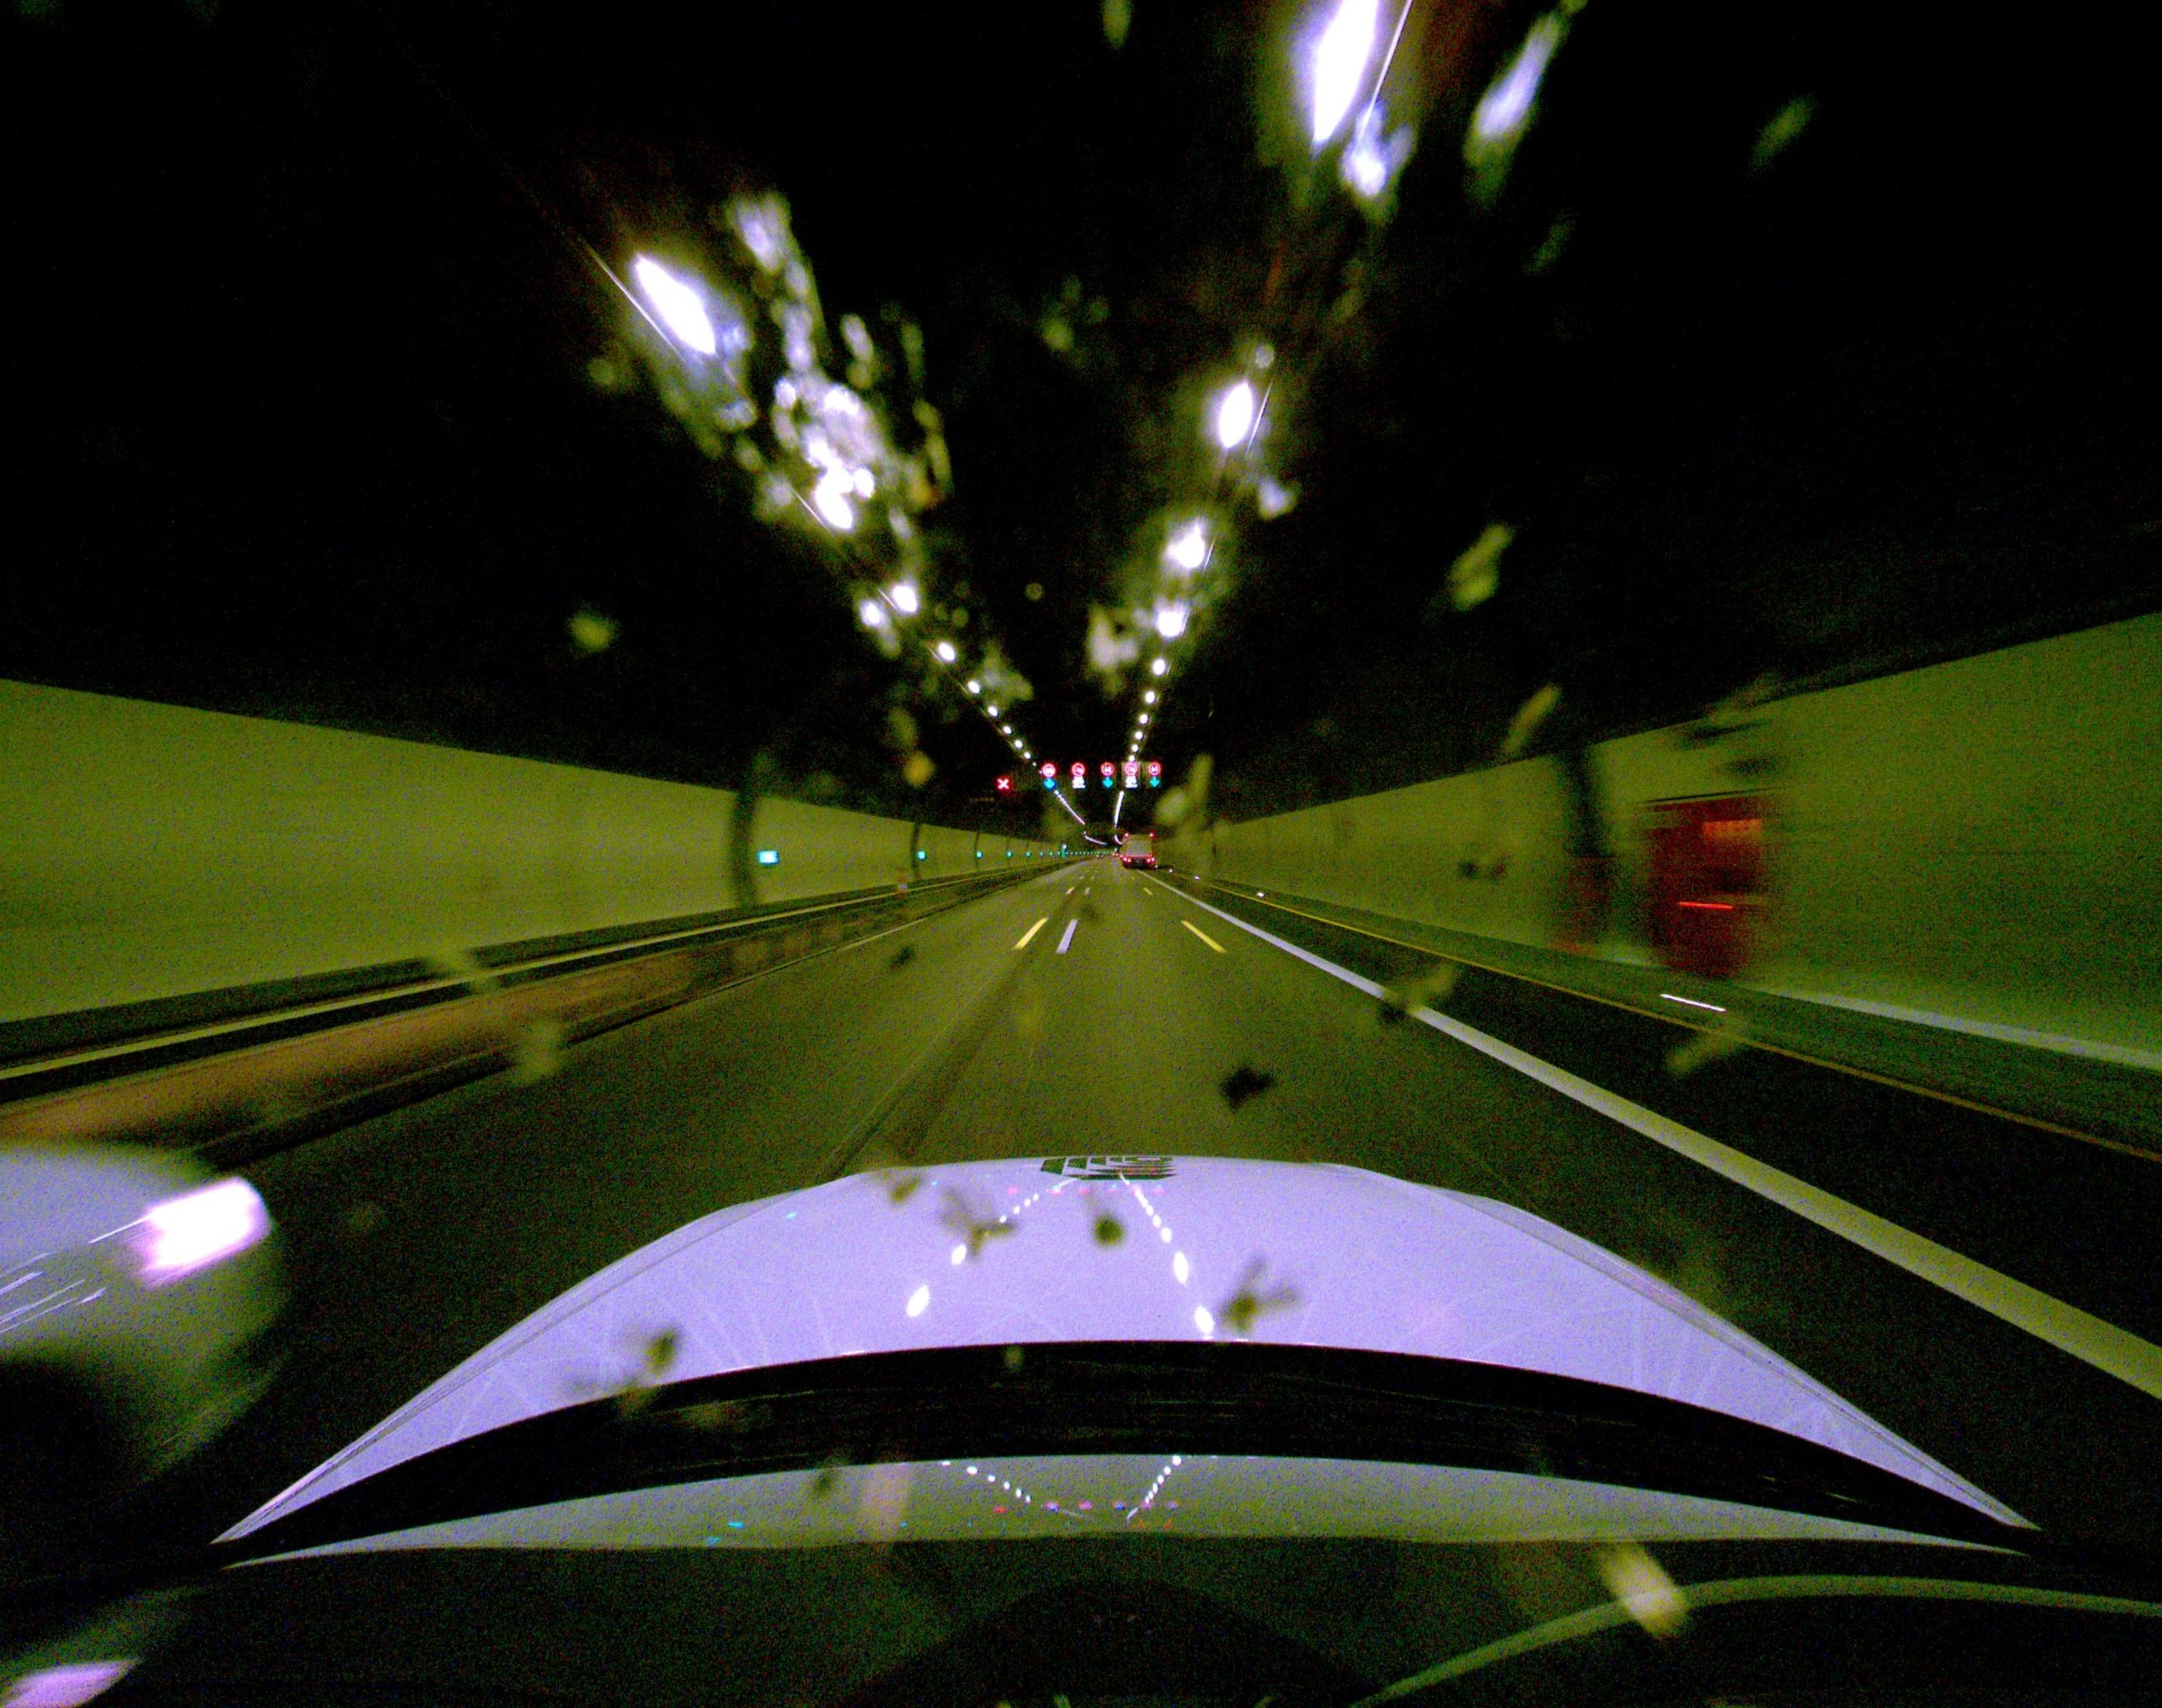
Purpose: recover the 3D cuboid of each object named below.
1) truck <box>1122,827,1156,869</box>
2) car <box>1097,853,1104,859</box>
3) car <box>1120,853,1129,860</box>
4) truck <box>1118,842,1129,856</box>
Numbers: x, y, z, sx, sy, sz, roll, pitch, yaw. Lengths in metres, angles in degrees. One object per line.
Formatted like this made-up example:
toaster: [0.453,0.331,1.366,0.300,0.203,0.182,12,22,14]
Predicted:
truck: [5.862,-0.533,84.302,3.080,3.918,10.373,-2,-1,2]
car: [5.140,0.447,217.623,1.752,1.461,4.121,-2,1,2]
car: [9.256,0.553,173.767,1.732,1.461,3.964,-2,1,3]
truck: [12.538,-1.486,240.488,3.053,3.918,10.376,-2,-1,3]
